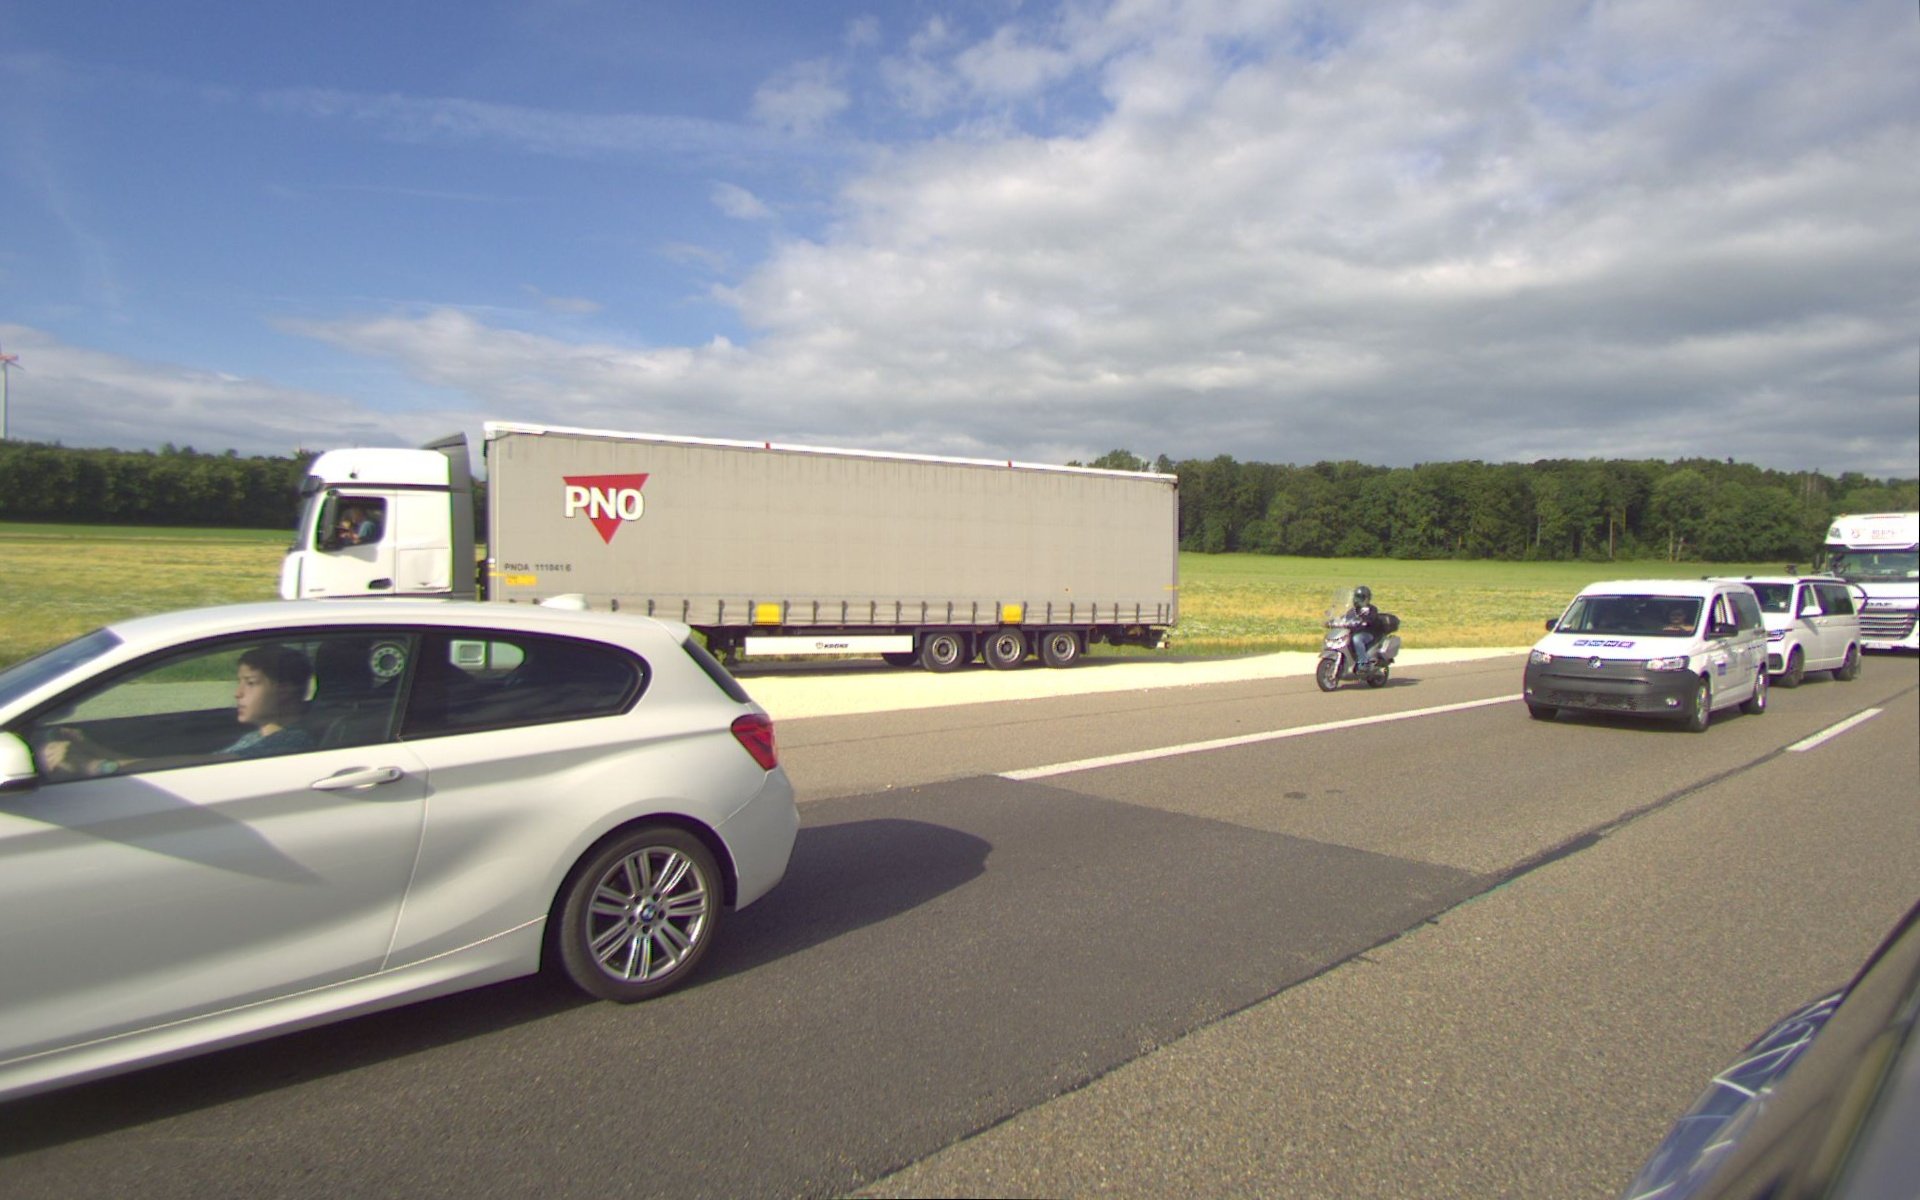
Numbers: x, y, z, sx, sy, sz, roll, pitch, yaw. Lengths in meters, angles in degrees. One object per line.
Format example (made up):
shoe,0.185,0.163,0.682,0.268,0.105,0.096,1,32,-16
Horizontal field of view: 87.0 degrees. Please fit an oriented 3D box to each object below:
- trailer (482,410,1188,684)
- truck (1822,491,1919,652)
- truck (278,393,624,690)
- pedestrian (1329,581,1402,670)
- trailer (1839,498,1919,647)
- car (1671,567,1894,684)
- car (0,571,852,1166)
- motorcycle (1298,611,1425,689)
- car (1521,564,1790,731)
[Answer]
trailer,-1.815,-0.780,19.797,13.544,4.213,2.748,0,0,-27
truck,26.968,-0.792,28.959,5.667,4.226,2.733,-1,0,-41
truck,-8.158,-0.823,16.618,4.662,4.227,2.726,1,0,-26
pedestrian,6.597,0.397,16.475,0.803,1.391,0.758,1,0,-32
trailer,32.067,-0.865,33.491,13.778,4.212,2.739,-1,1,-42
car,15.587,0.431,19.085,5.165,1.949,1.801,0,0,-33
car,-2.557,0.656,3.417,4.158,1.450,1.706,0,0,-41
motorcycle,6.542,0.781,16.444,2.200,1.164,0.759,0,0,-33
car,8.986,0.505,12.912,4.620,1.779,1.727,0,0,-41
